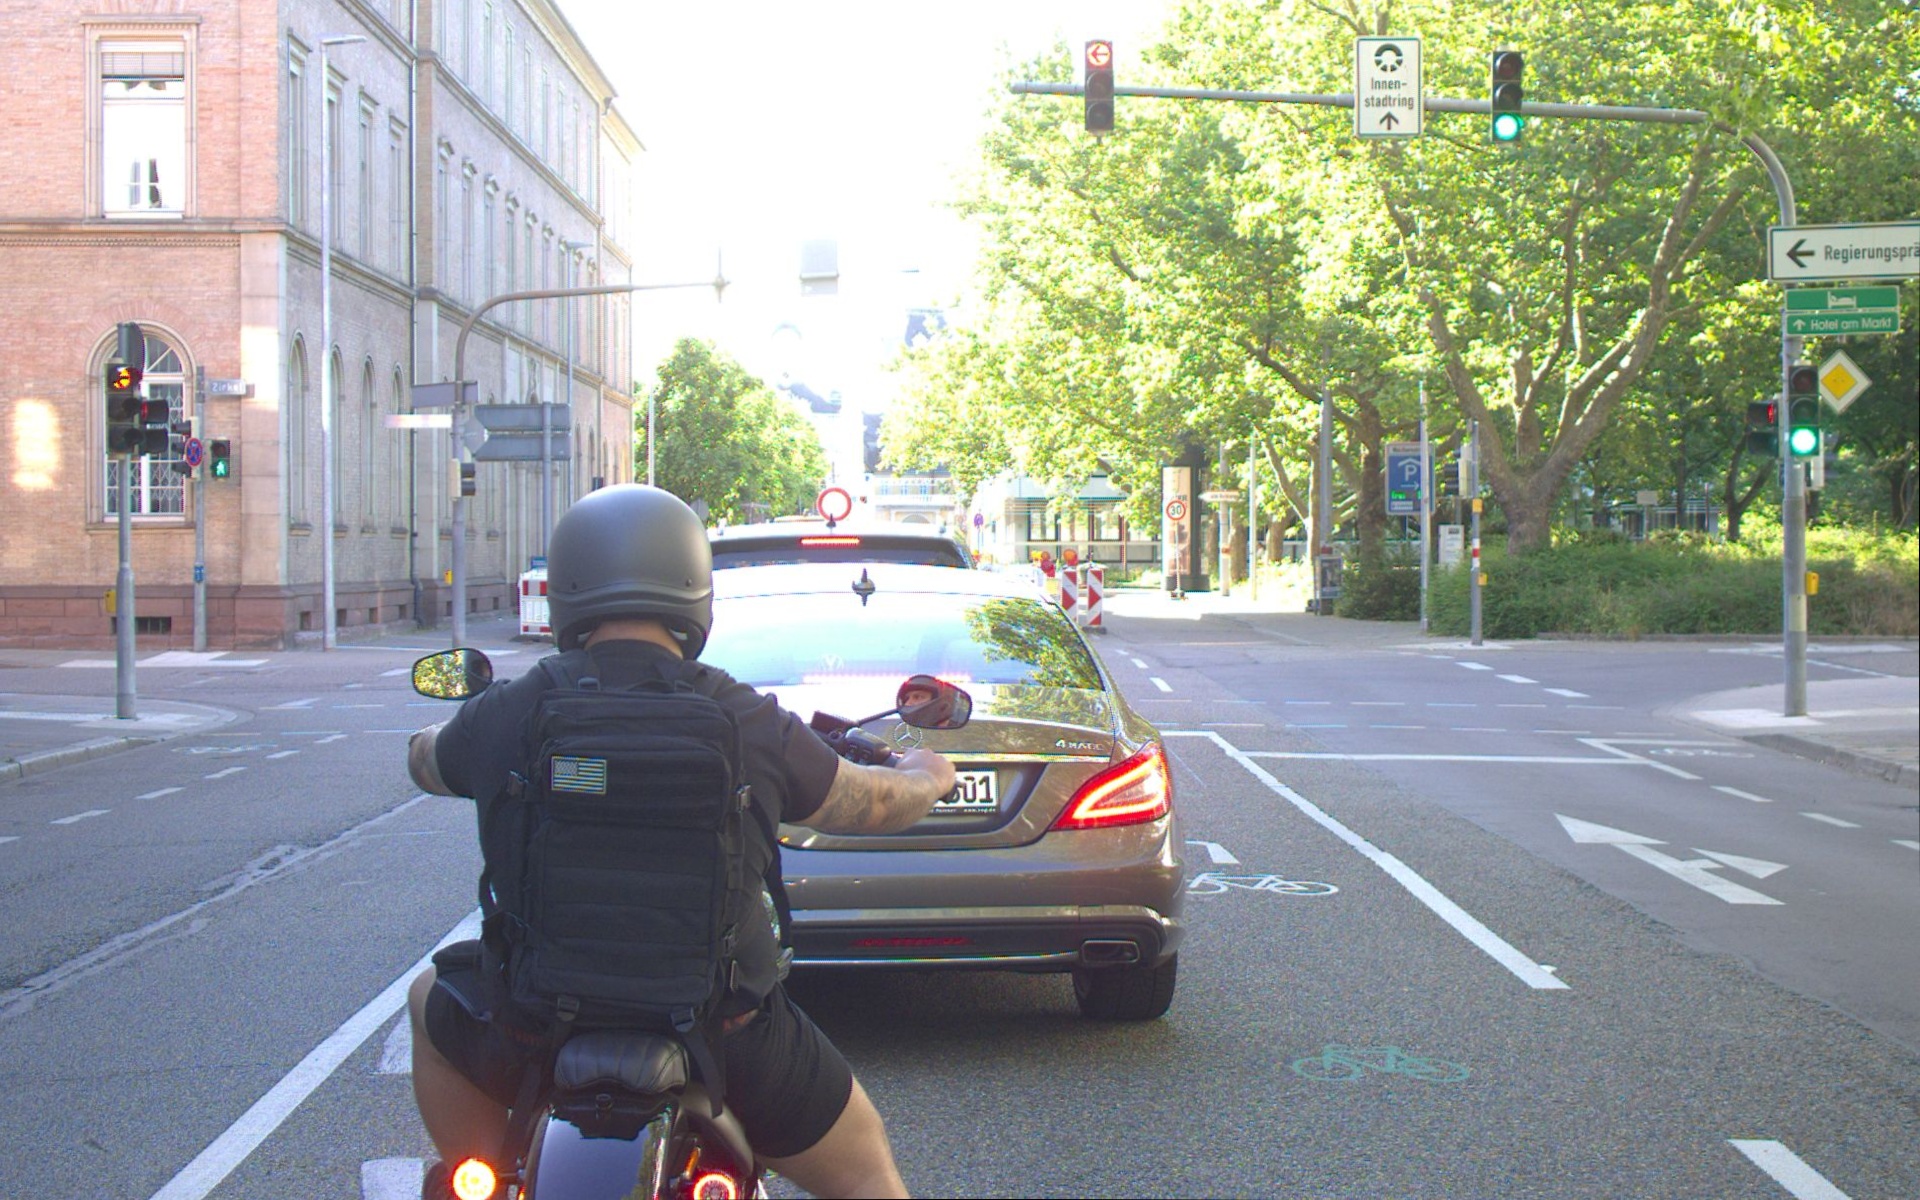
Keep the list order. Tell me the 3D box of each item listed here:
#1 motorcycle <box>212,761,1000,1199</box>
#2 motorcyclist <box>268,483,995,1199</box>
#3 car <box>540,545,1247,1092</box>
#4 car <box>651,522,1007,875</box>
[{"bbox_3d":[-0.459,0.878,5.557,0.989,1.075,2.452,0,1,-1],"label":"motorcycle"},{"bbox_3d":[-0.455,0.623,5.399,0.989,1.591,1.404,0,1,-1],"label":"motorcyclist"},{"bbox_3d":[-0.435,0.556,11.593,1.945,1.468,4.363,0,1,-7],"label":"car"},{"bbox_3d":[-0.641,0.406,17.759,1.612,1.602,4.329,0,1,-1],"label":"car"}]
